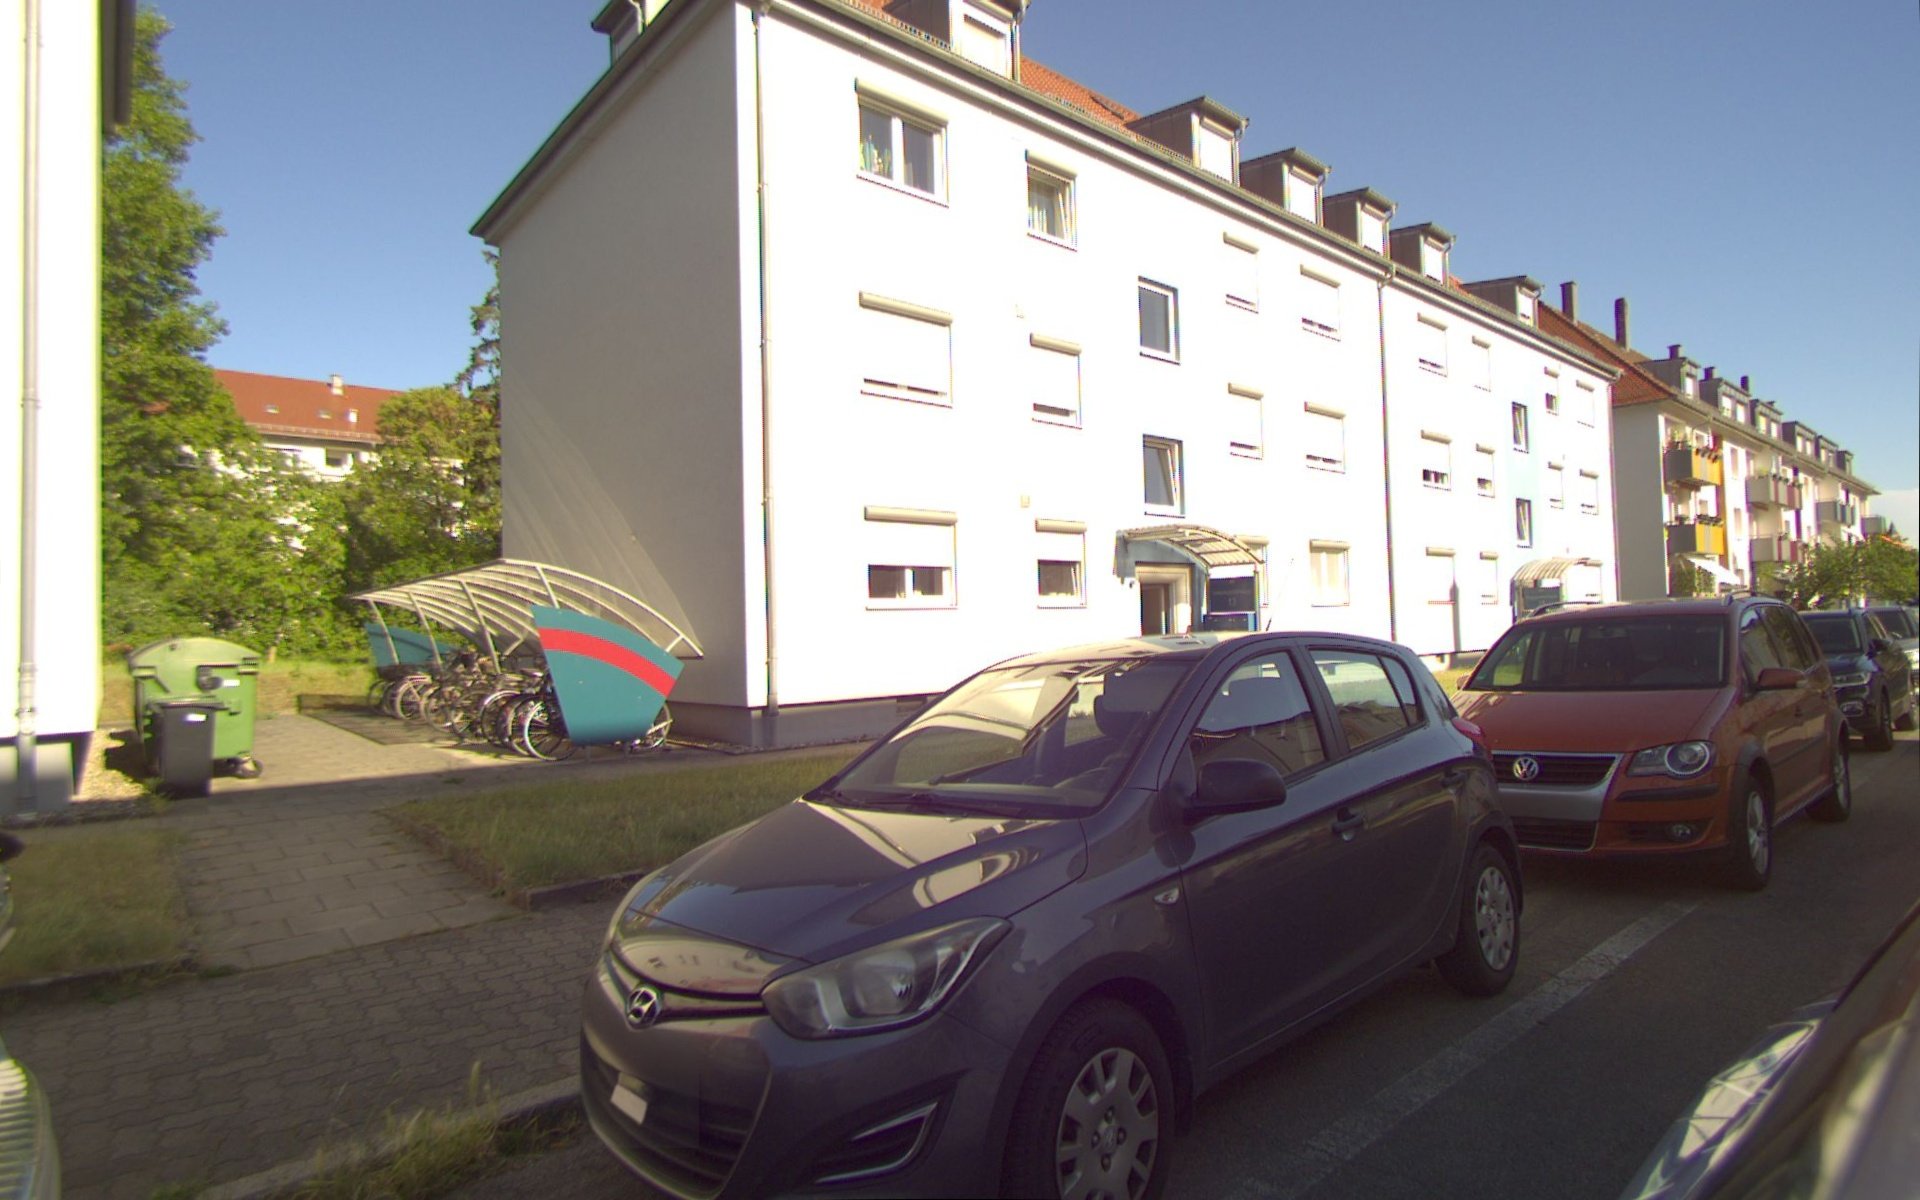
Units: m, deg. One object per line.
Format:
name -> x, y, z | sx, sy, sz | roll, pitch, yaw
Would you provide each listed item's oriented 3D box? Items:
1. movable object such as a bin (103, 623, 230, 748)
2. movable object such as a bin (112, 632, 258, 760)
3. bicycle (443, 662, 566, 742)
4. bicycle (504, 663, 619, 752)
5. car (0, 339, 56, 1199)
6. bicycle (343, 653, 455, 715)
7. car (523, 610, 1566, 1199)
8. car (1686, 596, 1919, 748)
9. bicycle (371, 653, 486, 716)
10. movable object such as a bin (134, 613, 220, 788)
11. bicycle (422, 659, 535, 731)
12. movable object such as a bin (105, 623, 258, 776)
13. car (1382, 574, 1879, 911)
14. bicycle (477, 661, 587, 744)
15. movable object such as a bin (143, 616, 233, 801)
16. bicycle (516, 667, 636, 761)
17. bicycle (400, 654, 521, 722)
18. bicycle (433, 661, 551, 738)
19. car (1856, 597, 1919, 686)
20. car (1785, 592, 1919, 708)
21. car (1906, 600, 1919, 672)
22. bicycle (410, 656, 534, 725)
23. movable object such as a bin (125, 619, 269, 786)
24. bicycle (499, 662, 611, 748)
movable object such as a bin -> -10.829, 1.117, 13.829 | 1.315, 1.572, 1.124 | 0, -2, -40
movable object such as a bin -> -9.668, 1.137, 12.634 | 1.376, 1.454, 1.297 | 0, -2, -40
bicycle -> -6.091, 1.344, 13.573 | 1.481, 0.958, 0.319 | 0, 0, -39
bicycle -> -4.799, 1.270, 12.230 | 1.260, 0.958, 0.319 | 0, 0, -39
car -> -3.033, 0.670, 0.196 | 4.235, 1.742, 1.776 | 0, -5, -43
bicycle -> -9.957, 1.471, 18.000 | 0.420, 0.958, 1.714 | -1, 0, 40
car -> 0.625, 0.834, 3.729 | 3.790, 1.468, 1.618 | 0, -4, -42
car -> 10.367, 0.788, 12.201 | 3.808, 1.545, 1.706 | 0, -4, -41
bicycle -> -9.062, 1.421, 17.294 | 1.706, 0.958, 0.422 | 0, 0, -33
movable object such as a bin -> -7.404, 0.914, 9.570 | 0.613, 1.572, 0.595 | 0, -2, -40
bicycle -> -7.104, 1.383, 14.975 | 1.481, 0.958, 0.319 | 0, 0, -39
movable object such as a bin -> -8.819, 1.062, 11.476 | 1.315, 1.572, 1.297 | 0, -2, -40
car -> 4.817, 0.707, 6.994 | 4.346, 1.627, 1.730 | 0, -2, -41
bicycle -> -5.490, 1.297, 13.012 | 1.260, 0.958, 0.319 | 0, 0, -39
movable object such as a bin -> -6.940, 0.935, 9.094 | 0.613, 1.572, 0.595 | 0, -2, -40
bicycle -> -4.409, 1.292, 11.651 | 1.260, 0.958, 0.319 | 0, 0, -39
bicycle -> -8.095, 1.405, 16.445 | 1.709, 0.958, 0.421 | 0, 0, -40
bicycle -> -6.618, 1.387, 14.351 | 1.481, 0.958, 0.319 | 0, 0, -39
car -> 18.699, 0.740, 19.431 | 3.970, 1.591, 1.707 | 0, -2, -41
car -> 14.267, 0.701, 15.623 | 3.808, 1.591, 1.707 | 0, -2, -41
car -> 23.104, 0.781, 23.140 | 3.970, 1.591, 1.707 | 0, -2, -41
bicycle -> -7.648, 1.398, 15.921 | 1.709, 0.958, 0.421 | 0, 0, -40
movable object such as a bin -> -7.896, 0.995, 10.462 | 1.124, 1.572, 1.297 | 0, -2, -40
bicycle -> -5.056, 1.295, 12.666 | 1.260, 0.958, 0.319 | 0, 0, -39
